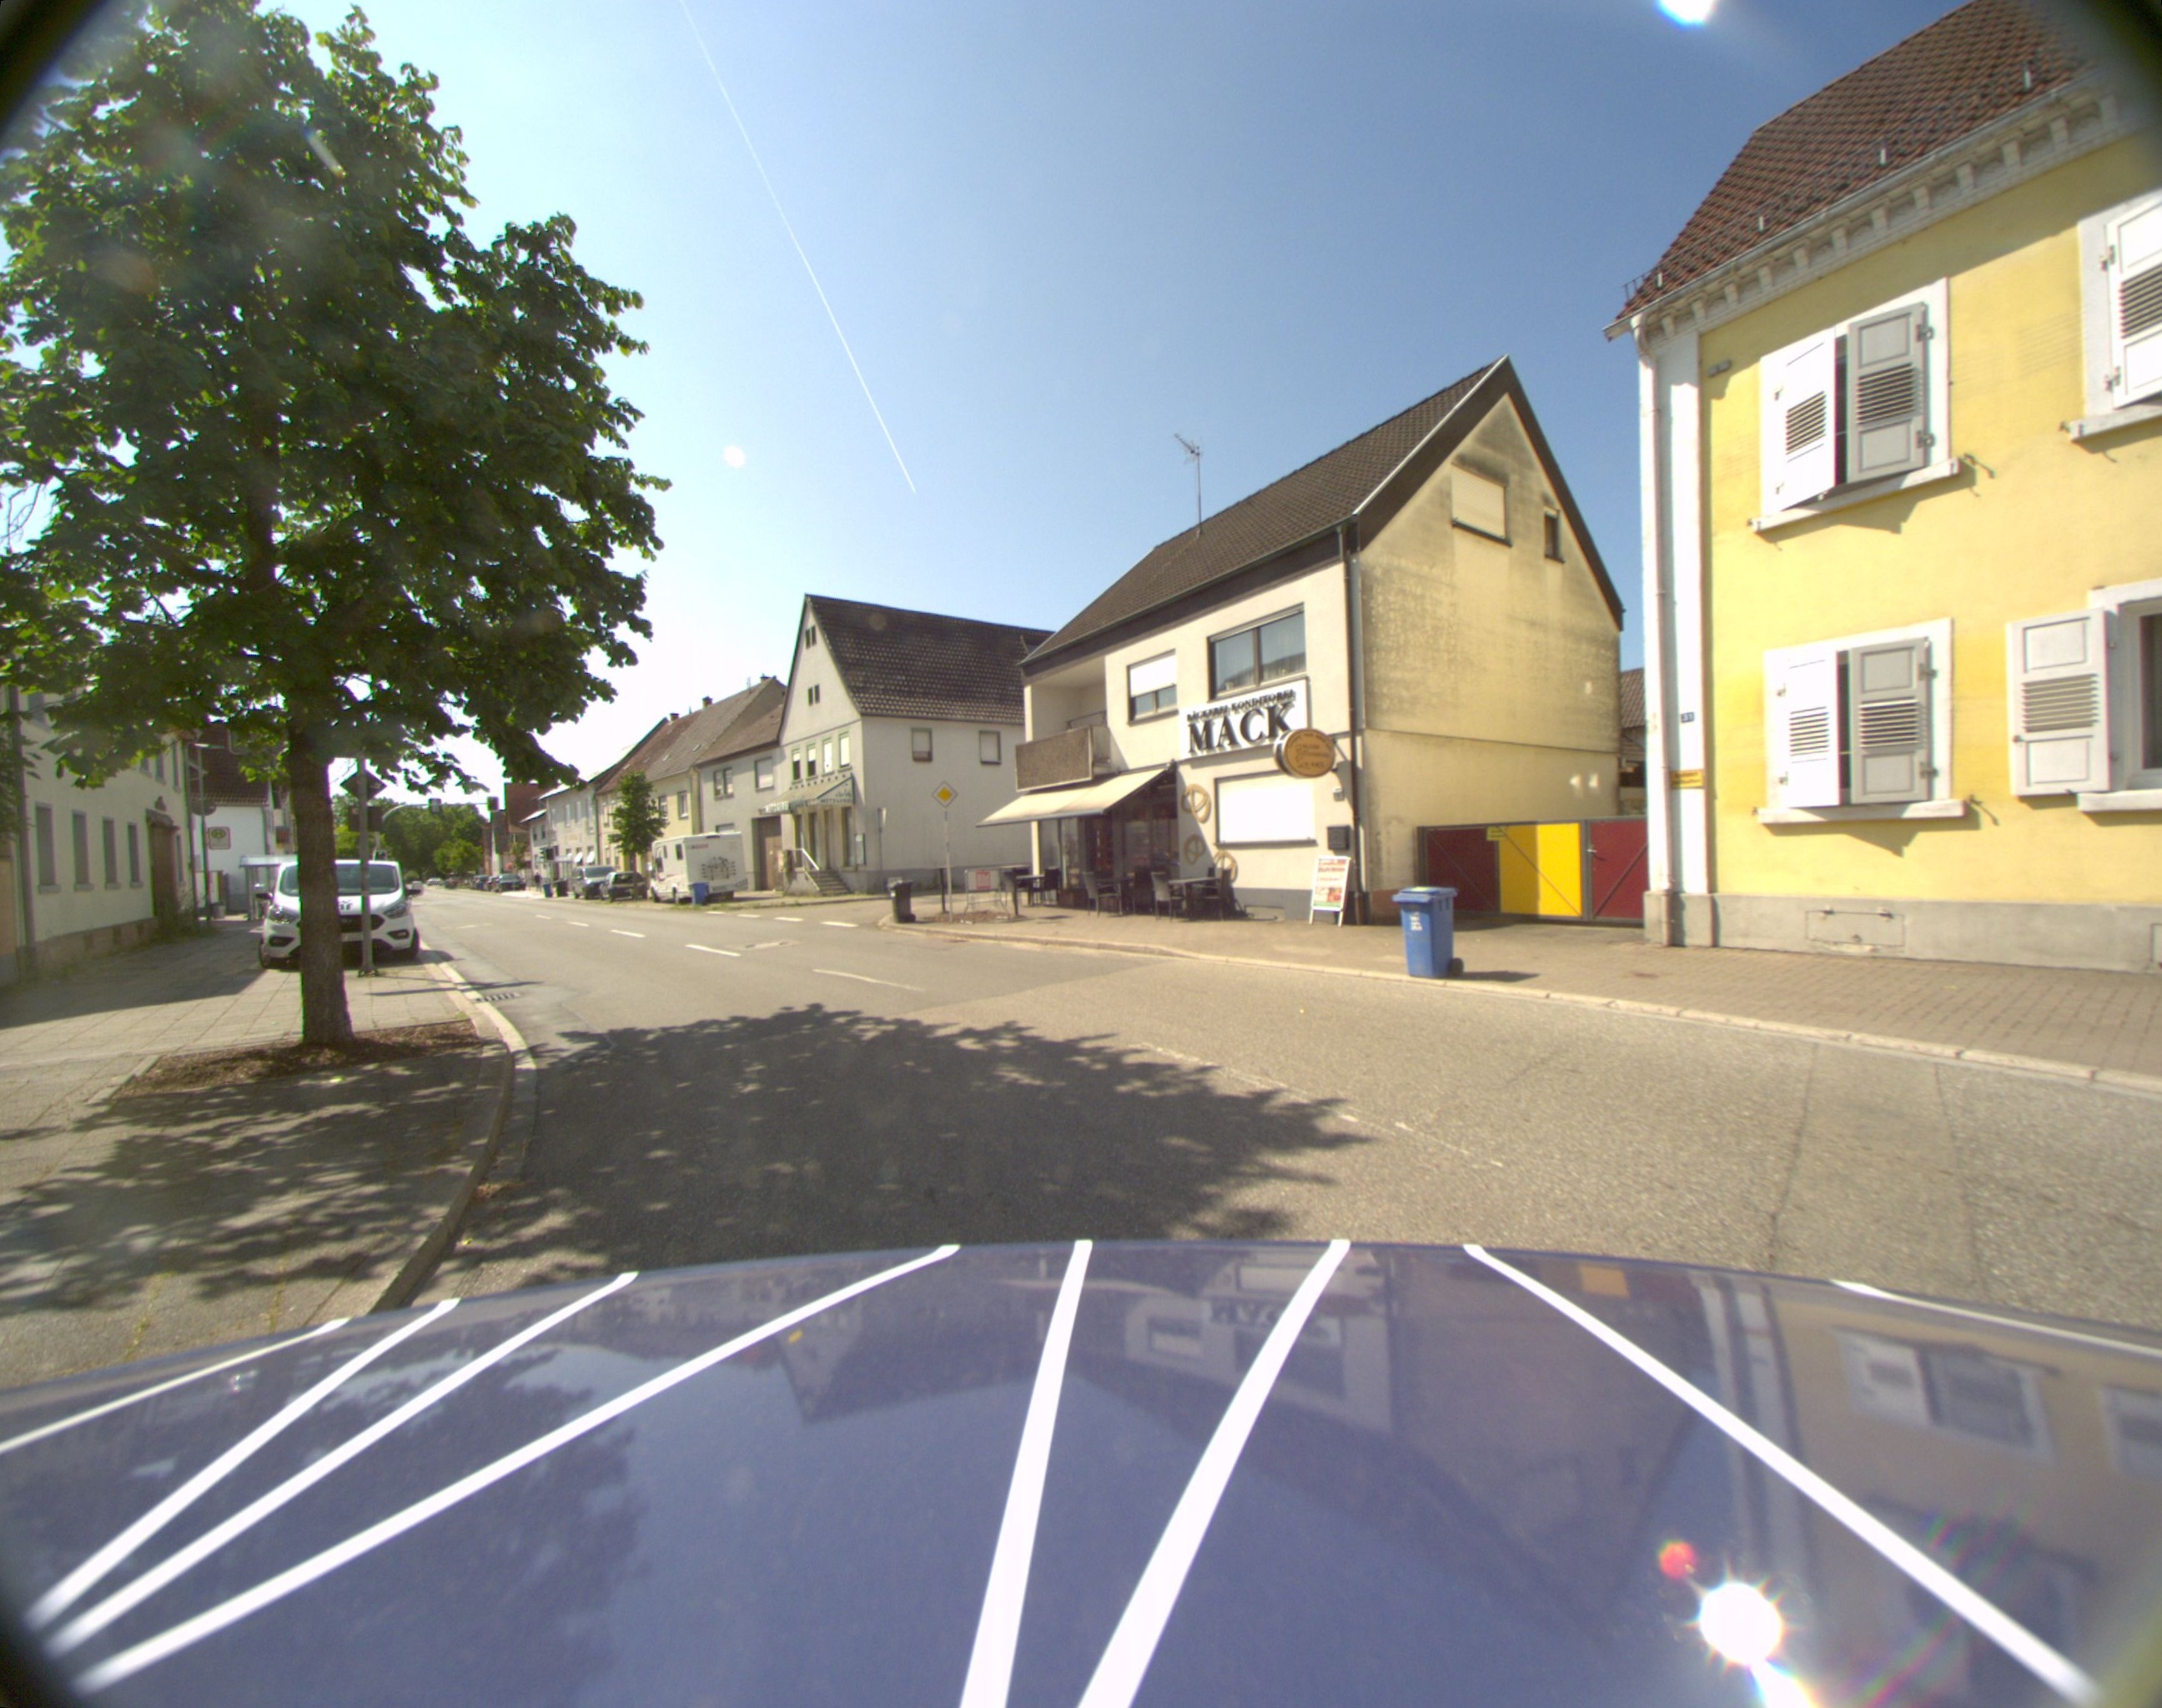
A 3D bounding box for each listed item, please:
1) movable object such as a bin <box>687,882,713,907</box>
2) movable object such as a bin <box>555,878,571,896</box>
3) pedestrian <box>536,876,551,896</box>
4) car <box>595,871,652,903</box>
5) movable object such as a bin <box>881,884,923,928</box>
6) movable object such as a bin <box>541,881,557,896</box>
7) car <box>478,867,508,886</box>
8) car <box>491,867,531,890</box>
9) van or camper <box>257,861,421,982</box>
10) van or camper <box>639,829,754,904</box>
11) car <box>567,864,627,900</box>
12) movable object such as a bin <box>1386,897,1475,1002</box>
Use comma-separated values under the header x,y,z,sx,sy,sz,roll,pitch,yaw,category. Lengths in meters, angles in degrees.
x,y,z,sx,sy,sz,roll,pitch,yaw,category
-13.884,1.470,27.704,0.646,0.867,0.612,-4,2,-44,movable object such as a bin
-33.111,2.093,48.545,0.549,1.061,0.720,-1,2,45,movable object such as a bin
-42.605,2.522,60.219,0.754,1.523,0.579,-4,2,-44,pedestrian
-23.708,1.663,39.337,1.694,1.474,3.608,-4,2,-43,car
-3.977,1.143,16.890,0.646,0.919,0.612,-4,2,-44,movable object such as a bin
-34.454,2.254,49.193,0.549,0.907,0.720,-1,2,45,movable object such as a bin
-60.842,2.345,78.607,2.004,1.837,4.943,-3,1,-42,car
-50.026,2.094,66.653,2.362,1.837,4.943,-3,1,-42,car
-14.881,1.187,15.312,2.004,1.942,5.331,-3,1,-44,van or camper
-16.863,0.518,33.064,2.458,2.888,7.048,-4,2,-43,van or camper
-27.653,1.571,43.319,2.003,1.837,4.943,-4,2,-42,car
3.662,0.975,7.961,0.646,0.975,0.612,-4,2,-41,movable object such as a bin
